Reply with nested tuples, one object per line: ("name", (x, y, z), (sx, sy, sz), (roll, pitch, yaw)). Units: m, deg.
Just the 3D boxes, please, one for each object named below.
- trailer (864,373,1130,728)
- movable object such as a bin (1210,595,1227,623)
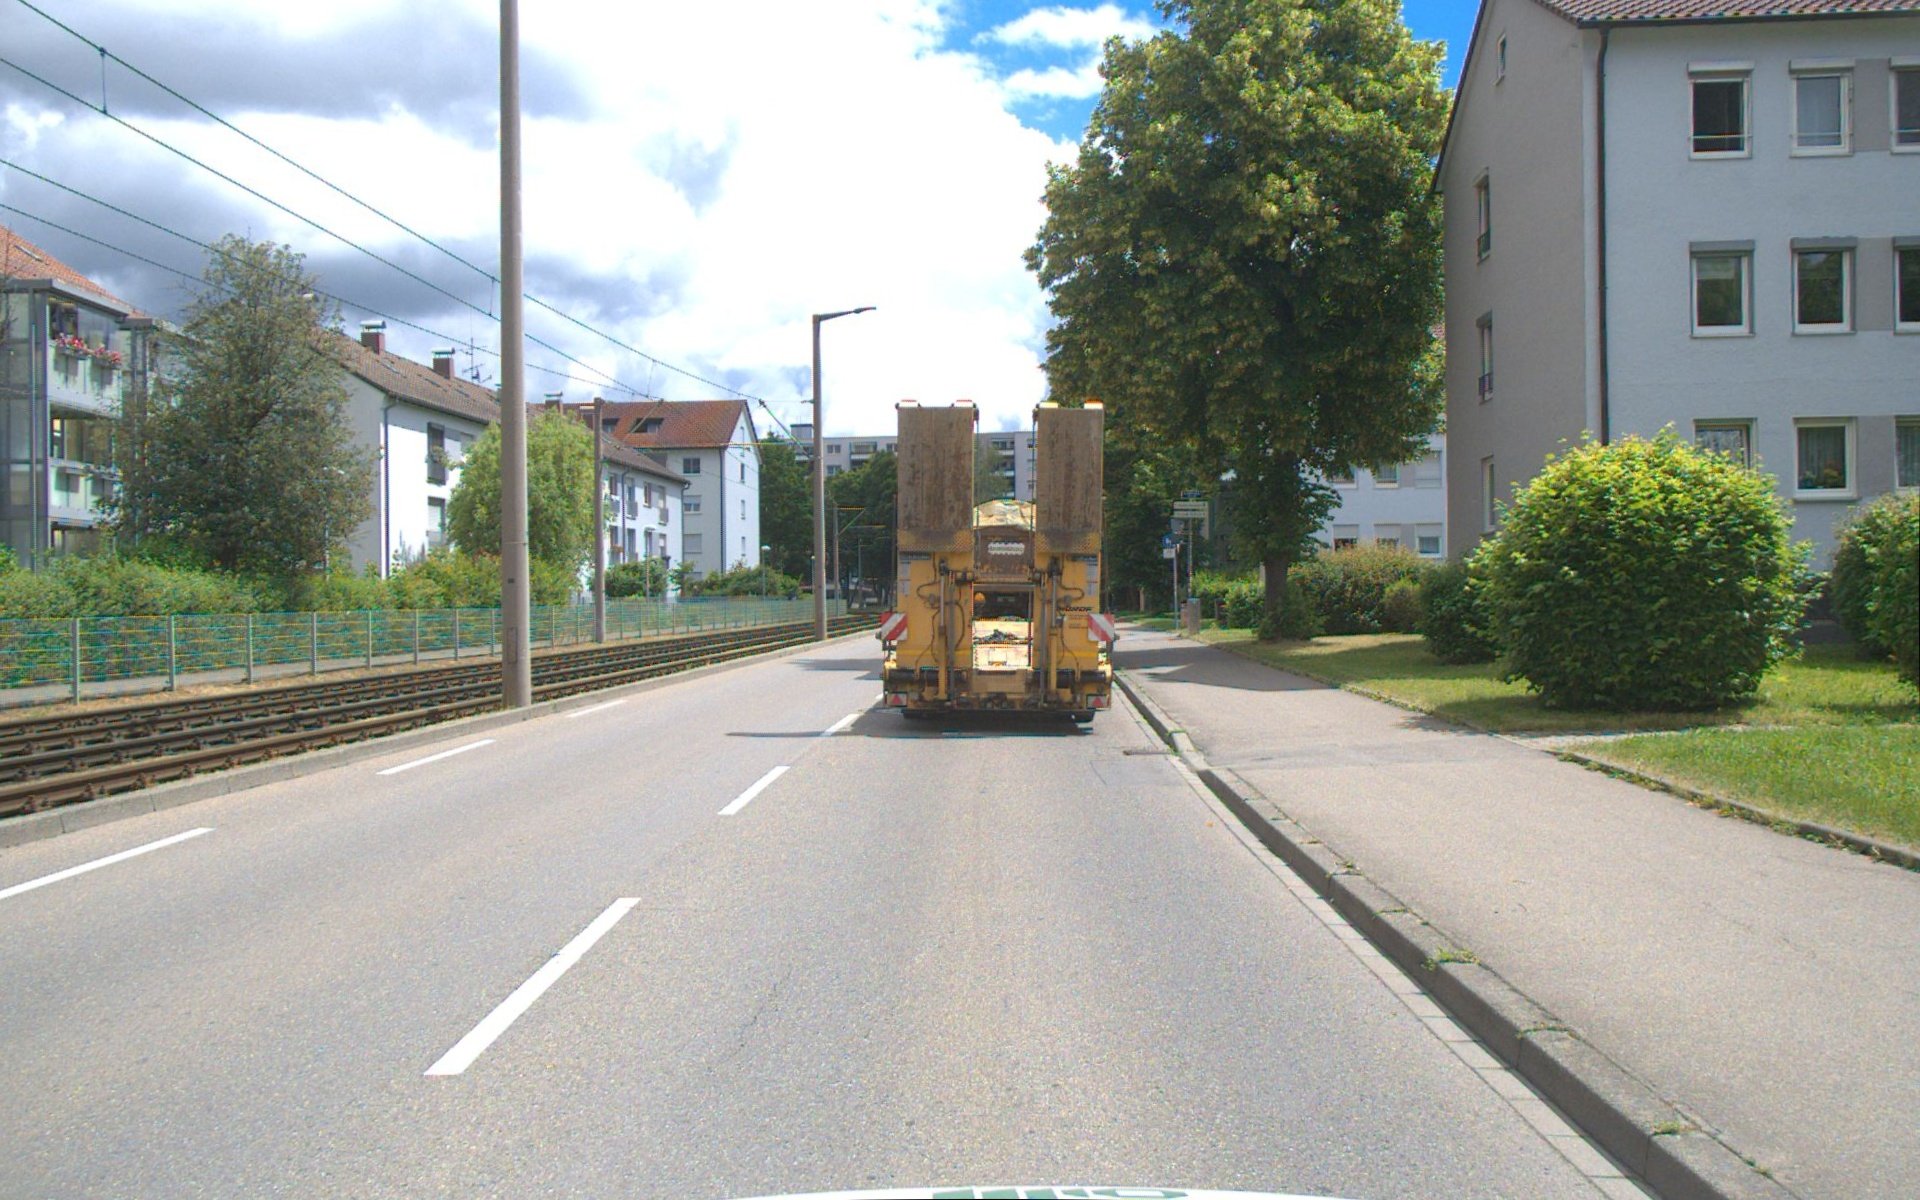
("trailer", (0.313, -0.523, 23.711), (2.770, 3.709, 12.351), (1, 0, -1))
("movable object such as a bin", (9.020, 0.321, 57.778), (0.485, 0.971, 0.580), (-2, 0, 3))
